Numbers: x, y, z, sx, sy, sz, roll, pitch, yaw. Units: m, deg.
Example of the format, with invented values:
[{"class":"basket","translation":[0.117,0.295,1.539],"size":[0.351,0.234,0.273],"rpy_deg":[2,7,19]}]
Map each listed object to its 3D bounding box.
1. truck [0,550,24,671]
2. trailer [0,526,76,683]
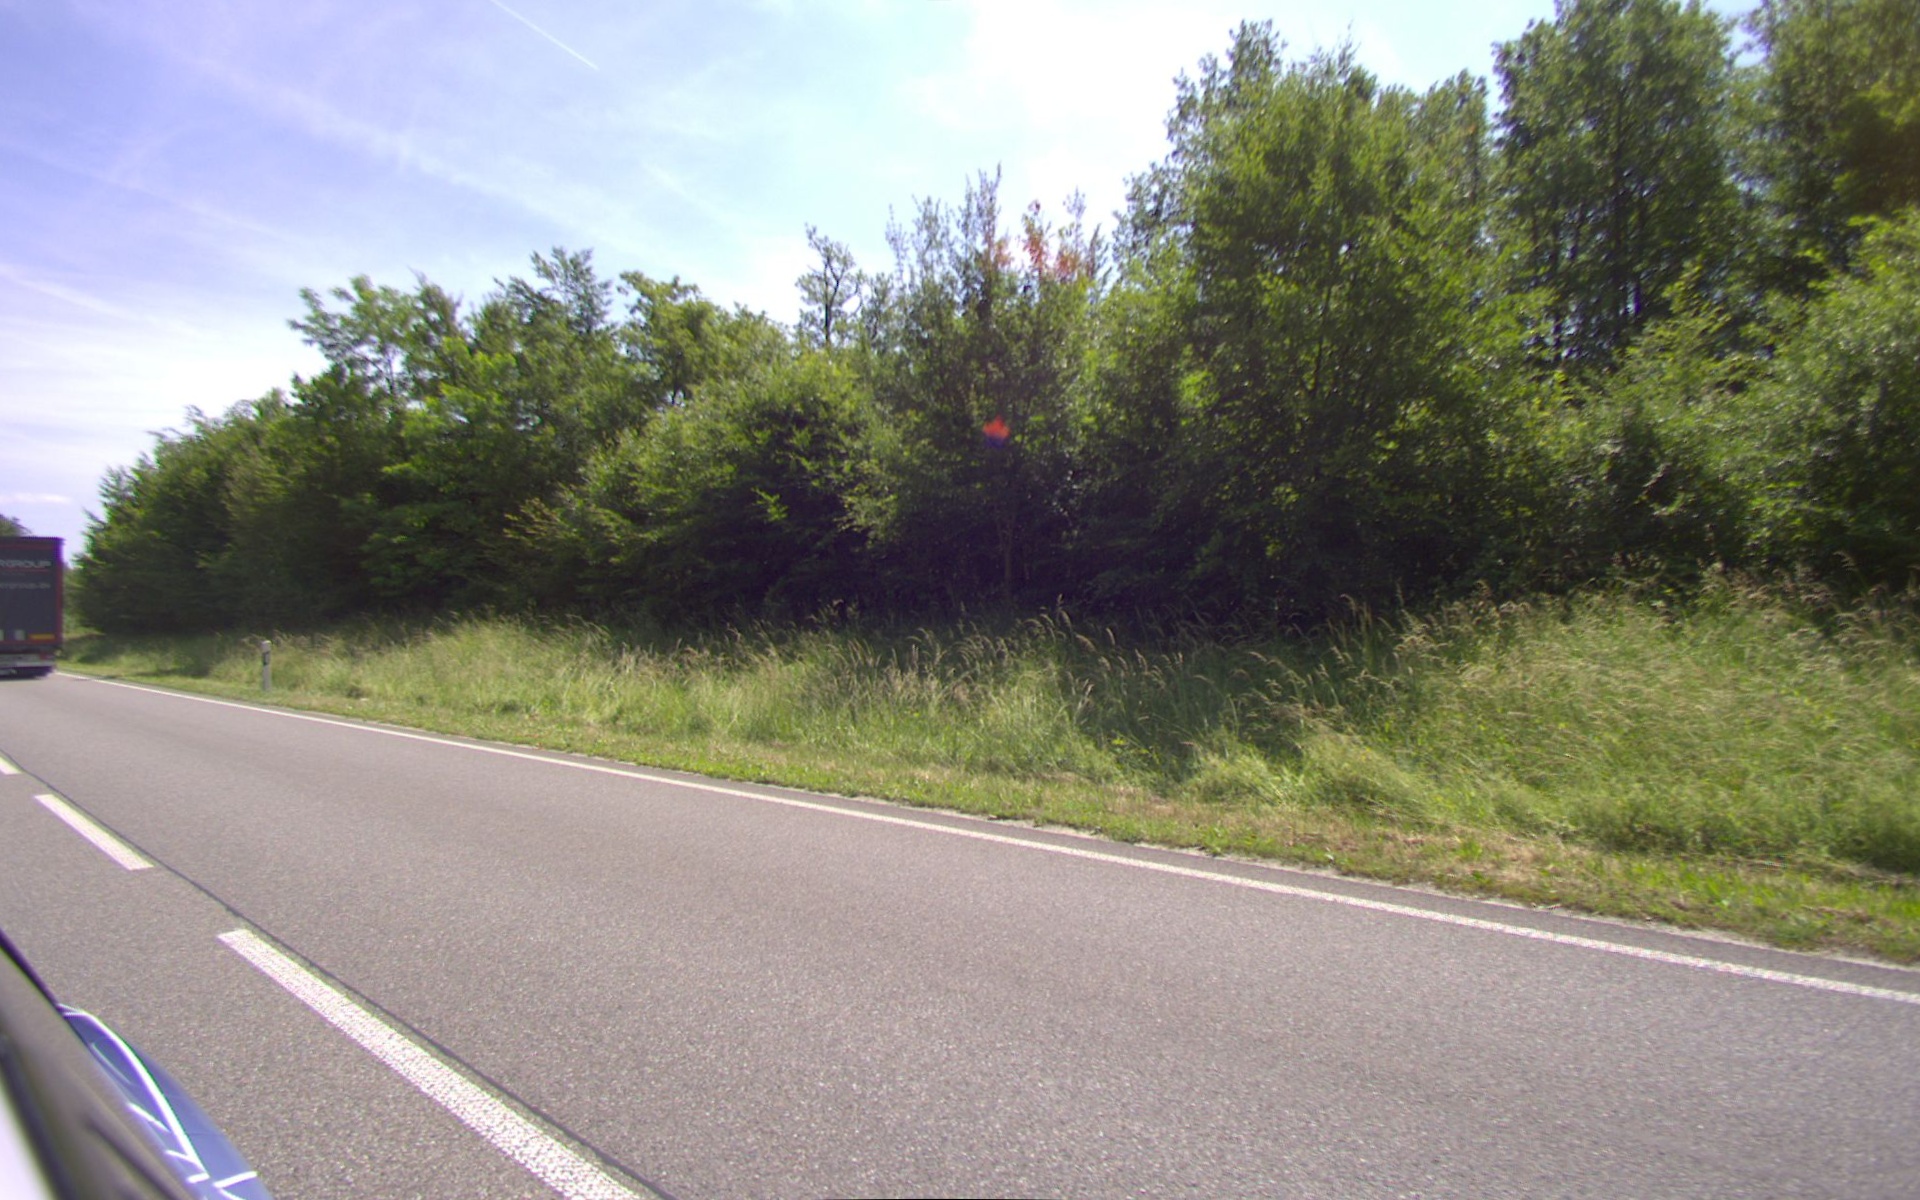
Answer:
[{"class":"truck","translation":[-36.395,0.406,36.779],"size":[5.340,4.248,2.892],"rpy_deg":[-2,-2,41]},{"class":"trailer","translation":[-31.331,0.268,32.292],"size":[13.613,4.285,2.911],"rpy_deg":[-2,-2,41]}]
